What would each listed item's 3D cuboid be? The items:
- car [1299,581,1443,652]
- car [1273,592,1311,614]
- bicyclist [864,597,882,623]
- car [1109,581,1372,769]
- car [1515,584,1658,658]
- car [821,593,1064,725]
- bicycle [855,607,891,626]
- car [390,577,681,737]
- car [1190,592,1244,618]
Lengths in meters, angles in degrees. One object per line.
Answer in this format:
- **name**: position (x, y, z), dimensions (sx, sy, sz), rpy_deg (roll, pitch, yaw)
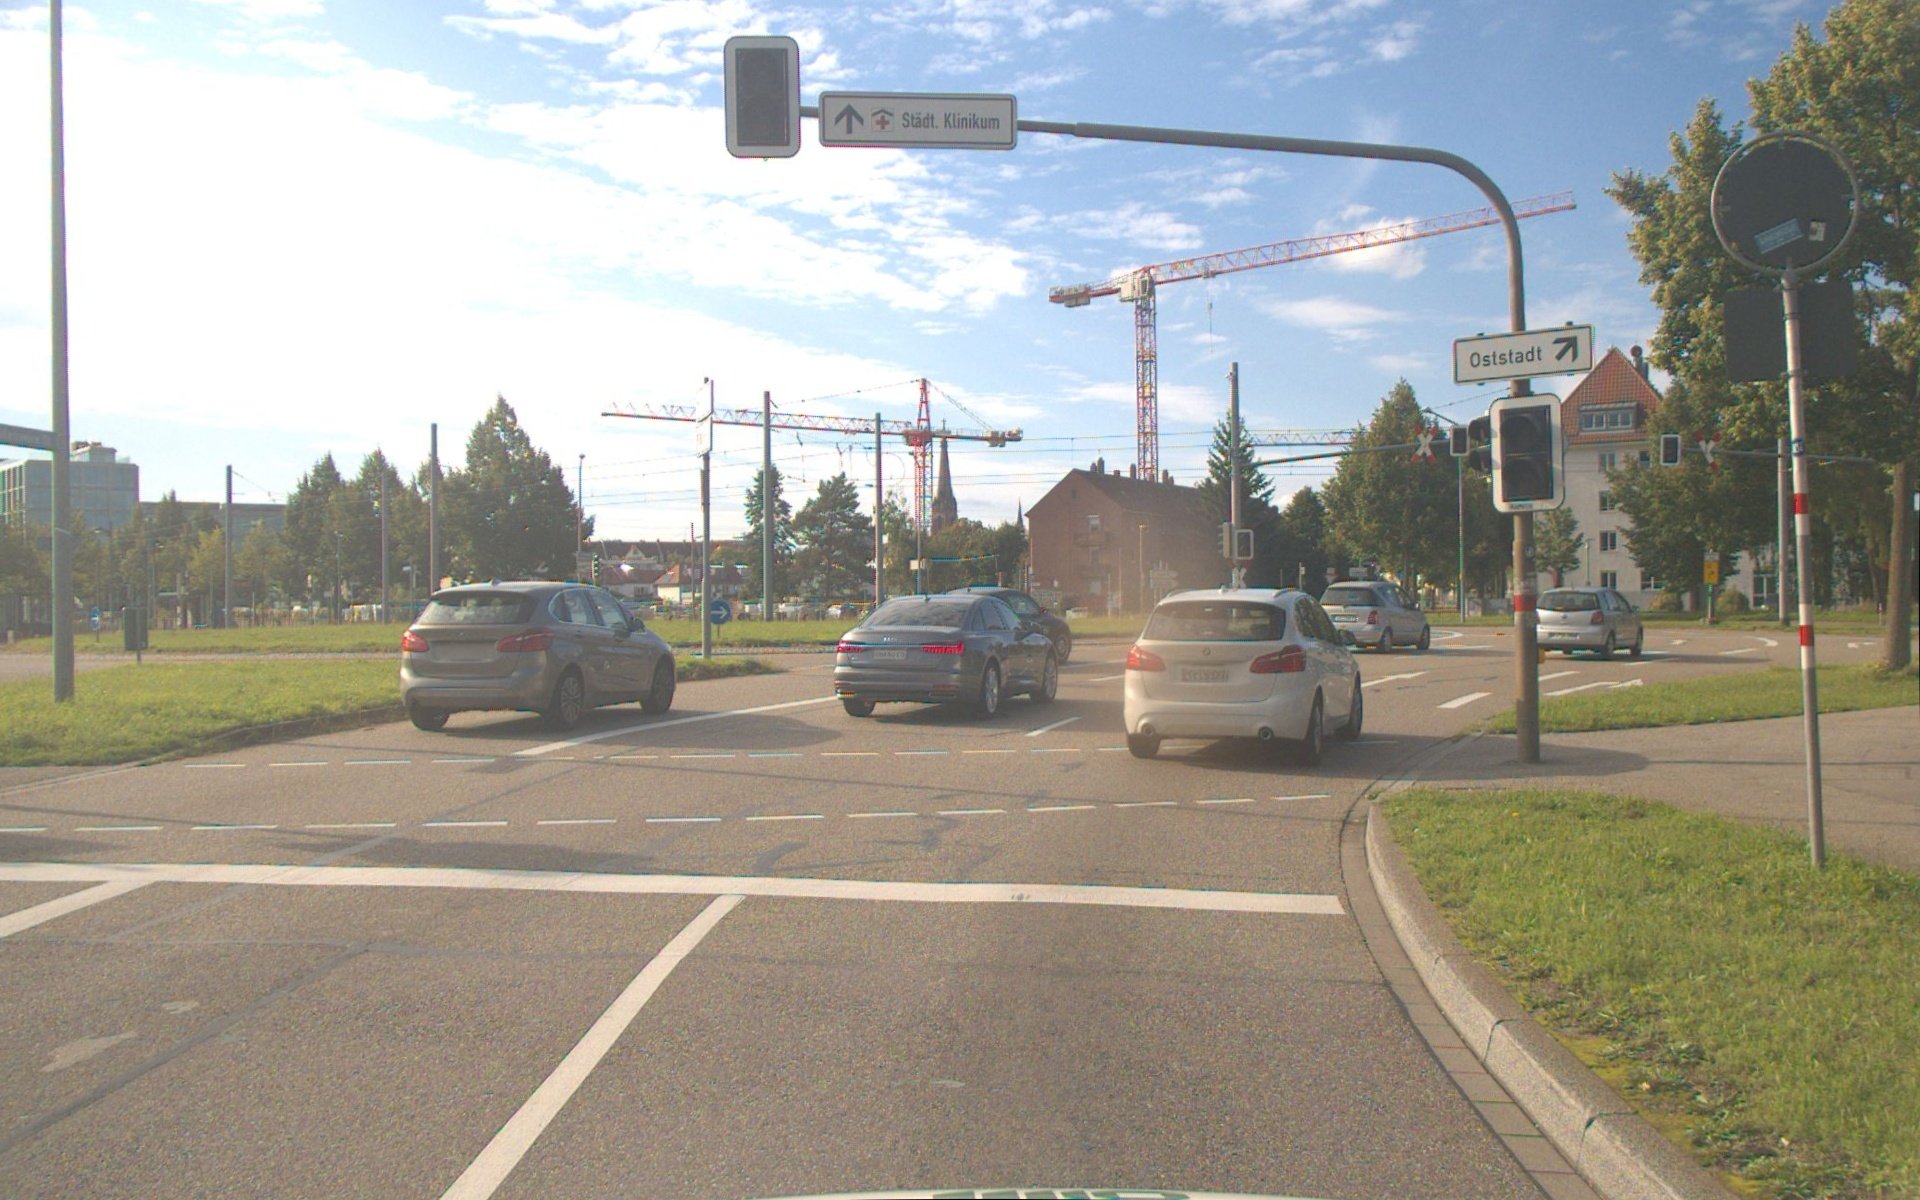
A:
- **car**: position (9.441, 0.327, 37.734), dimensions (1.818, 1.503, 4.441), rpy_deg (0, 1, 34)
- **car**: position (29.172, 0.287, 145.179), dimensions (1.860, 1.936, 4.652), rpy_deg (0, 0, 30)
- **bicyclist**: position (-5.522, 0.657, 104.960), dimensions (0.936, 1.602, 0.773), rpy_deg (-2, 0, 11)
- **car**: position (2.943, 0.647, 16.532), dimensions (1.812, 1.600, 4.455), rpy_deg (0, 0, 20)
- **car**: position (13.298, 0.395, 34.962), dimensions (1.819, 1.451, 4.439), rpy_deg (0, 1, 35)
- **car**: position (-0.076, 0.672, 21.141), dimensions (1.811, 1.470, 4.718), rpy_deg (0, 0, 16)
- **bicycle**: position (-5.503, 1.040, 104.957), dimensions (2.097, 1.157, 0.773), rpy_deg (-2, 0, 11)
- **car**: position (-4.626, 0.575, 18.677), dimensions (1.730, 1.600, 4.070), rpy_deg (0, 0, 8)
- **car**: position (19.330, 0.381, 124.199), dimensions (1.867, 1.936, 4.636), rpy_deg (0, 0, 40)
